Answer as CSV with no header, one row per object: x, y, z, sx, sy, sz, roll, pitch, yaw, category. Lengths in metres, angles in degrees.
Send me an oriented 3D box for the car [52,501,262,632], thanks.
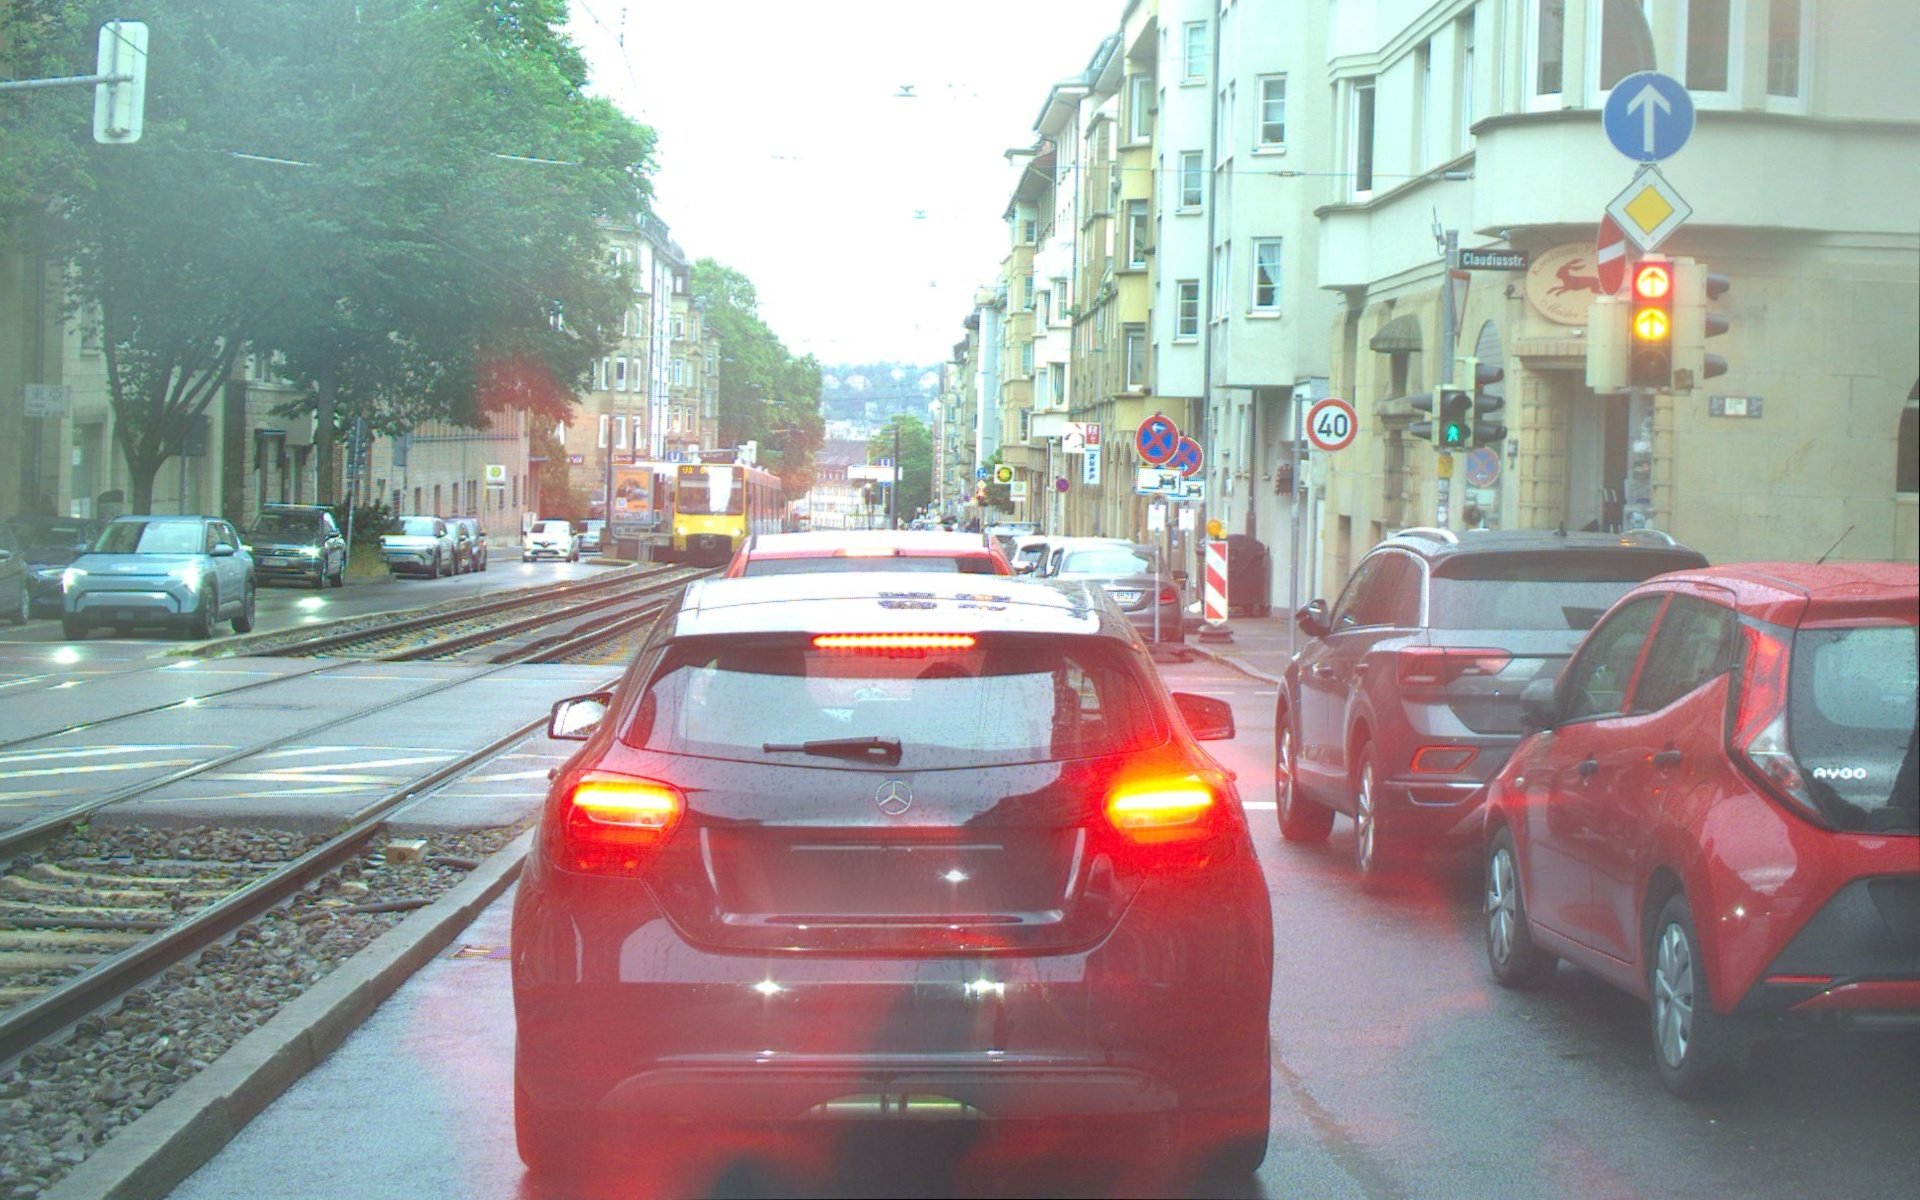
-10.448,-0.436,44.996,1.921,1.612,4.129,1,1,-2,car

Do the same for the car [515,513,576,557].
-14.663,-2.298,121.766,1.780,1.497,4.063,1,1,-2,car

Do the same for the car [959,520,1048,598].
0.964,-0.886,74.466,1.841,1.602,4.760,1,1,1,car

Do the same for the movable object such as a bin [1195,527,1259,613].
4.639,-0.528,59.828,0.980,1.463,1.273,1,0,-1,movable object such as a bin

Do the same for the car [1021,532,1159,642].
1.803,-0.201,48.970,1.712,1.463,4.774,1,1,-1,car

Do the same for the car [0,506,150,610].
-13.464,-0.622,51.229,1.780,1.455,4.979,1,1,-2,car

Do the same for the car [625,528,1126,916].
-0.368,0.460,16.112,1.993,1.520,4.246,2,1,-1,car

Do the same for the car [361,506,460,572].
-14.264,-1.602,89.439,1.961,1.600,4.329,2,2,-2,car

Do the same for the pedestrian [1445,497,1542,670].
5.283,-0.163,34.087,0.804,1.681,0.754,1,0,-1,pedestrian

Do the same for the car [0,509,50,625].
-13.419,-0.448,45.674,1.689,1.524,4.176,1,1,-2,car

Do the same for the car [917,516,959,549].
-1.058,-3.236,165.551,1.887,1.520,4.245,2,1,1,car

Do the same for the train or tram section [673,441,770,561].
-8.625,-3.588,126.046,2.745,4.048,17.216,1,1,-2,train or tram section

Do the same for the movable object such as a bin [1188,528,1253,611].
4.639,-0.543,61.325,1.018,1.463,1.323,1,0,-1,movable object such as a bin

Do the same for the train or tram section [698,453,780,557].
-9.052,-3.905,142.233,2.745,4.048,15.663,1,1,-2,train or tram section

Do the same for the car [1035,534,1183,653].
1.837,-0.104,43.603,1.711,1.405,4.817,1,1,1,car

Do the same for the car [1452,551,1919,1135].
2.719,0.611,10.494,1.705,1.448,3.533,2,1,-3,car

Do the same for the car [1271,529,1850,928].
2.585,0.479,15.766,1.867,1.543,3.991,2,1,-1,car

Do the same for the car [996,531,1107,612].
1.609,-0.517,61.922,1.789,1.381,4.395,1,1,-1,car

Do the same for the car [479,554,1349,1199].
-0.121,0.625,9.301,1.834,1.448,3.902,1,1,-1,car

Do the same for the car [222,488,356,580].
-14.025,-1.411,72.118,1.953,1.736,4.780,4,2,-2,car

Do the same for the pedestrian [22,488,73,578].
-17.088,-1.258,64.363,0.728,1.657,0.771,2,1,-1,pedestrian
